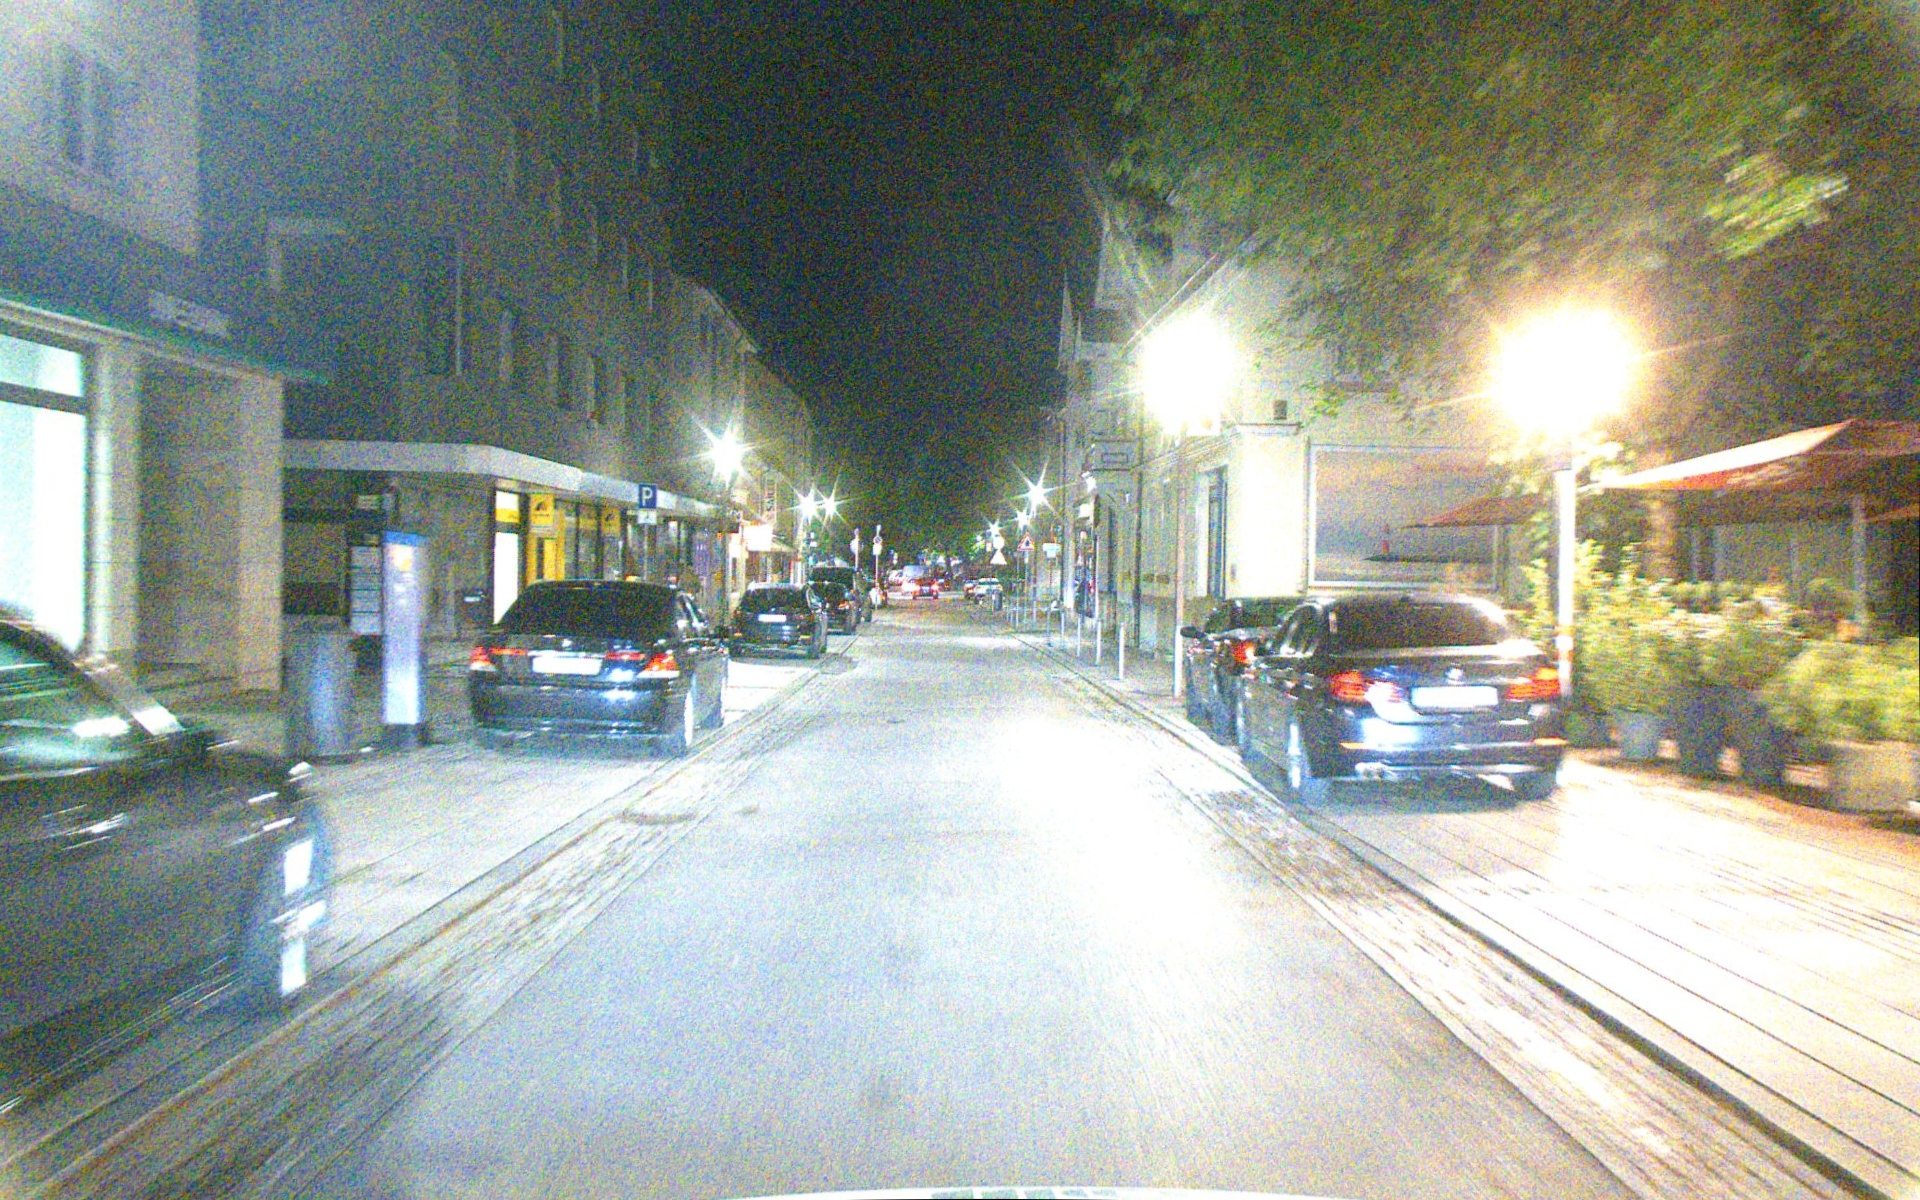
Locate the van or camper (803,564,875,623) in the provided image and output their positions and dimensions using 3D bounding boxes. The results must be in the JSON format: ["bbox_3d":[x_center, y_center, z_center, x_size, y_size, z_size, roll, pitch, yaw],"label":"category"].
[{"bbox_3d":[-4.342,-0.258,60.087,1.807,1.975,5.156,2,1,4],"label":"van or camper"}]

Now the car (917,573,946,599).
[{"bbox_3d":[-2.067,-1.016,118.606,1.953,1.855,3.998,1,1,-2],"label":"car"}]

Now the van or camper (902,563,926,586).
[{"bbox_3d":[-4.949,-2.758,177.071,2.069,2.357,4.255,-1,1,-8],"label":"van or camper"}]

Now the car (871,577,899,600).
[{"bbox_3d":[-5.465,-0.838,120.077,1.642,1.570,4.224,1,1,-7],"label":"car"}]

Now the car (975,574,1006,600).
[{"bbox_3d":[1.841,-0.811,100.011,1.753,1.517,4.059,-1,1,0],"label":"car"}]

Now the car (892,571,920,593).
[{"bbox_3d":[-4.360,-1.433,133.938,1.955,1.732,3.995,1,1,-6],"label":"car"}]

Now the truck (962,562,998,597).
[{"bbox_3d":[1.383,-1.440,115.526,2.289,2.352,5.779,0,1,-2],"label":"truck"}]

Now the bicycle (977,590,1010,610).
[{"bbox_3d":[1.778,-0.002,88.534,1.720,1.080,0.346,0,1,-4],"label":"bicycle"}]

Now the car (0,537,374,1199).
[{"bbox_3d":[-2.962,0.595,3.781,1.862,1.496,4.522,1,1,-4],"label":"car"}]

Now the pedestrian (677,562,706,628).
[{"bbox_3d":[-7.370,-0.152,45.353,0.608,1.776,1.022,1,0,-1],"label":"pedestrian"}]

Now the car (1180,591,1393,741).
[{"bbox_3d":[3.442,0.629,18.099,1.626,1.401,4.105,-1,0,2],"label":"car"}]

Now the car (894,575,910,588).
[{"bbox_3d":[-6.681,-2.130,189.885,1.502,1.443,3.840,0,1,-6],"label":"car"}]

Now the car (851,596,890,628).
[{"bbox_3d":[-4.919,0.637,91.728,1.979,1.513,5.006,3,1,-2],"label":"car"}]

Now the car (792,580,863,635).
[{"bbox_3d":[-3.789,0.186,47.821,1.682,1.437,4.385,2,1,-1],"label":"car"}]

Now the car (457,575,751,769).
[{"bbox_3d":[-3.131,0.552,15.523,1.807,1.489,4.622,2,1,-1],"label":"car"}]

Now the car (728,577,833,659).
[{"bbox_3d":[-3.579,0.329,33.653,1.761,1.503,4.320,2,0,-2],"label":"car"}]

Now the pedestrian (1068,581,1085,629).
[{"bbox_3d":[3.855,0.158,54.788,0.490,1.574,0.480,1,0,5],"label":"pedestrian"}]

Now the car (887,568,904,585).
[{"bbox_3d":[-7.643,-2.780,195.681,1.804,1.934,3.840,0,1,-6],"label":"car"}]

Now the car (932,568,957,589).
[{"bbox_3d":[-1.443,-1.986,151.033,1.780,1.860,4.340,0,1,-7],"label":"car"}]

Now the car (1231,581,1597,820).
[{"bbox_3d":[3.266,0.625,12.811,1.717,1.489,4.468,-1,0,2],"label":"car"}]

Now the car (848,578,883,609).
[{"bbox_3d":[-4.900,-0.365,86.264,1.694,1.502,3.845,2,1,-2],"label":"car"}]
